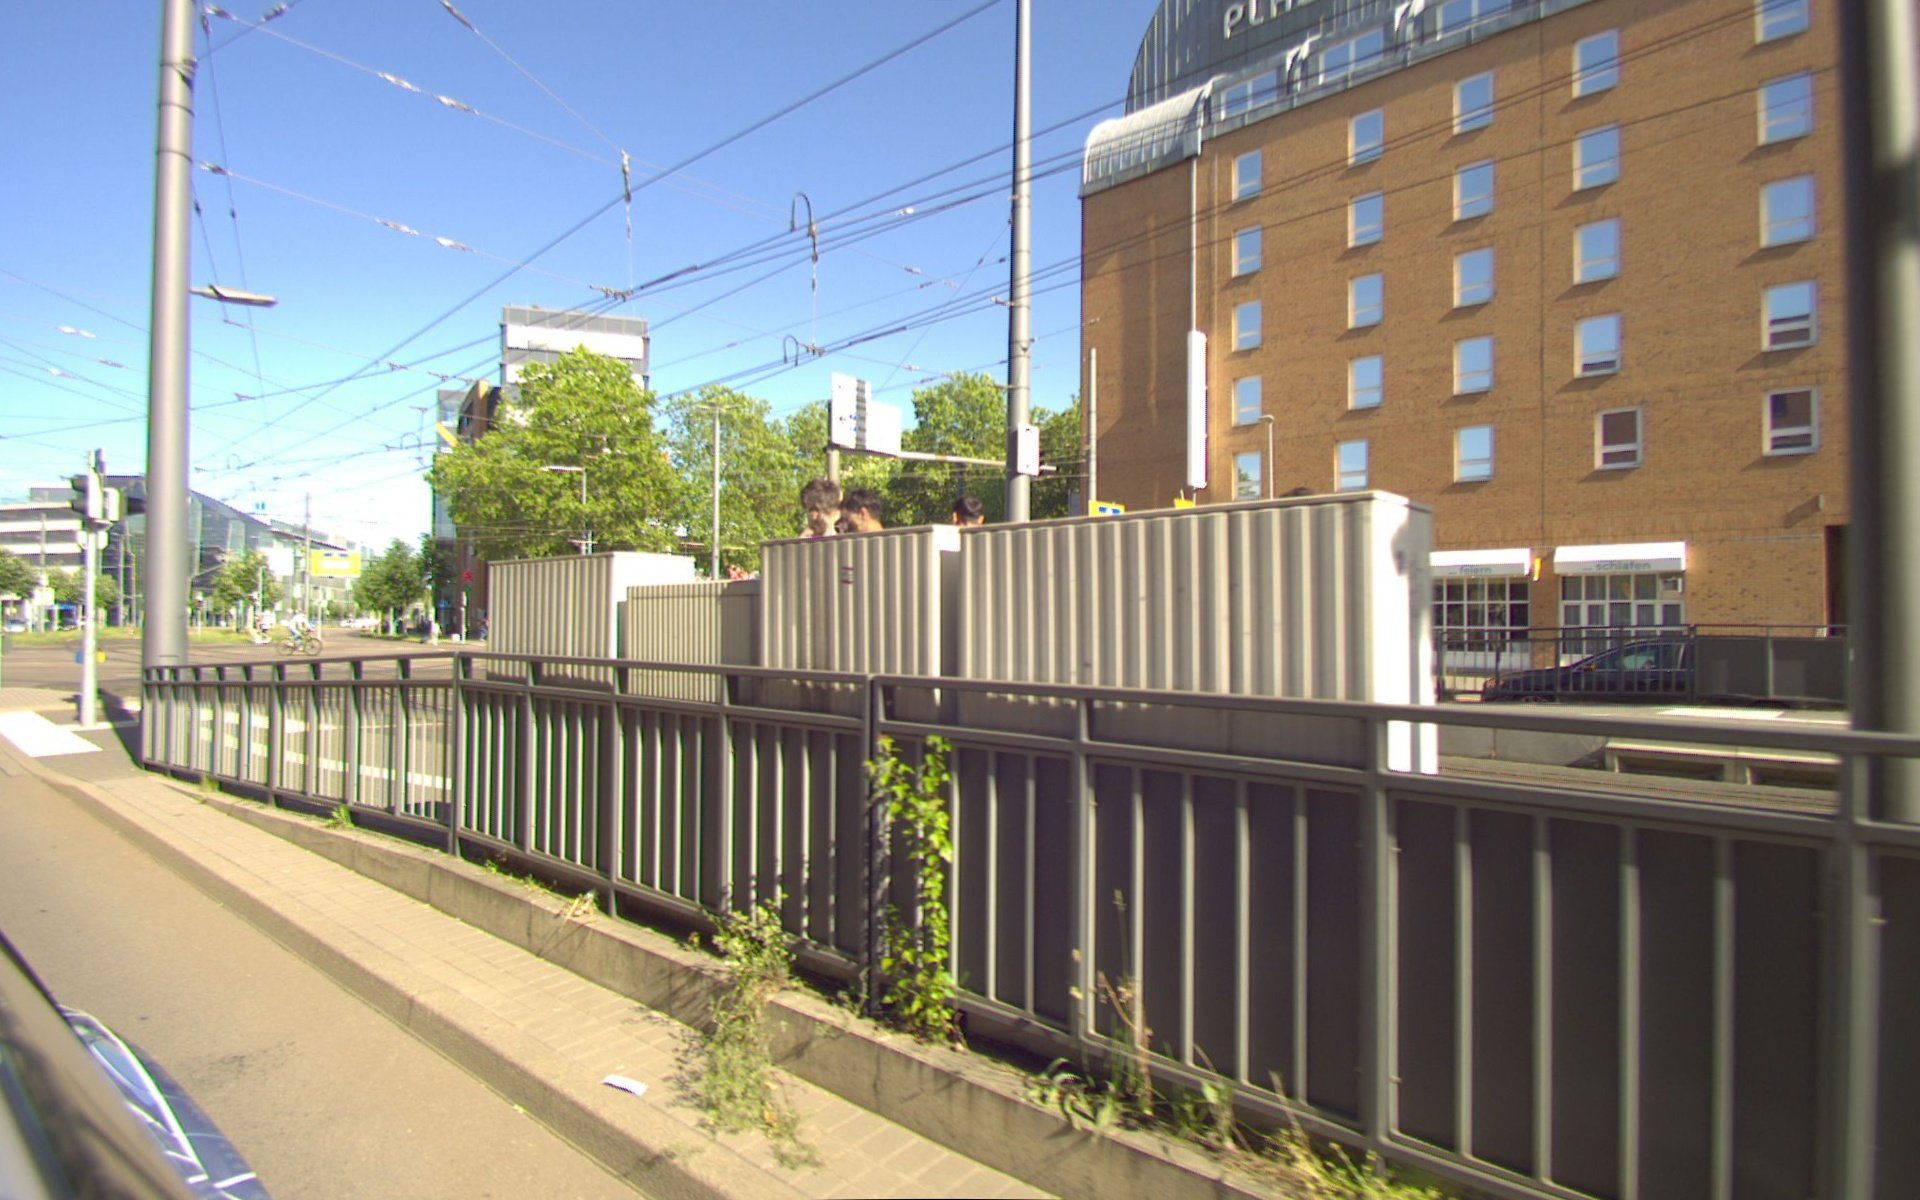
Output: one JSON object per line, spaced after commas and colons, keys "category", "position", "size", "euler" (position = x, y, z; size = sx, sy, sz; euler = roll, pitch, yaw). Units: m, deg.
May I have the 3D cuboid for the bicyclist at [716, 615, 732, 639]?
{"category": "bicyclist", "position": [-18.561, 2.133, 79.743], "size": [0.913, 1.822, 0.862], "euler": [2, -2, -42]}

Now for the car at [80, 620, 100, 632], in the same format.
{"category": "car", "position": [-111.371, 3.341, 129.561], "size": [1.925, 1.475, 4.007], "euler": [0, 0, -40]}

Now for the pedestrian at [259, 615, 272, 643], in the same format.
{"category": "pedestrian", "position": [-42.034, 1.775, 61.259], "size": [0.572, 1.692, 0.549], "euler": [2, -2, -36]}

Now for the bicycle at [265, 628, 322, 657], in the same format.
{"category": "bicycle", "position": [-26.687, 1.699, 40.541], "size": [1.811, 1.108, 0.639], "euler": [1, -2, -10]}

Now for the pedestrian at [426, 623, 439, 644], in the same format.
{"category": "pedestrian", "position": [-35.325, 2.258, 67.800], "size": [0.653, 1.408, 0.674], "euler": [2, -2, -36]}

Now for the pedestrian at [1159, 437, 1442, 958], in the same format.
{"category": "pedestrian", "position": [1.253, 0.313, 3.709], "size": [0.775, 1.631, 0.746], "euler": [-1, -2, 39]}

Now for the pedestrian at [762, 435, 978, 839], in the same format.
{"category": "pedestrian", "position": [-0.436, 0.167, 4.914], "size": [0.819, 1.757, 0.640], "euler": [-1, -2, 39]}

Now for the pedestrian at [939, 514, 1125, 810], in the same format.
{"category": "pedestrian", "position": [0.419, 0.341, 5.941], "size": [0.908, 1.581, 0.602], "euler": [-1, -2, 39]}

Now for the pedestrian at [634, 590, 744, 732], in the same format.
{"category": "pedestrian", "position": [-3.433, 0.744, 12.834], "size": [1.007, 1.702, 0.947], "euler": [-1, -2, 44]}

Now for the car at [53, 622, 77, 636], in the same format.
{"category": "car", "position": [-104.178, 3.332, 117.817], "size": [1.925, 1.475, 4.007], "euler": [0, 0, -40]}

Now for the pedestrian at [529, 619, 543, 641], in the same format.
{"category": "pedestrian", "position": [-31.734, 2.268, 75.732], "size": [0.768, 1.636, 0.674], "euler": [2, -2, -36]}

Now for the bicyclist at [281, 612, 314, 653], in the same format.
{"category": "bicyclist", "position": [-26.570, 1.306, 40.612], "size": [0.836, 1.652, 0.780], "euler": [1, -2, -9]}

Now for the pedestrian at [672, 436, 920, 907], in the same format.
{"category": "pedestrian", "position": [-0.693, 0.273, 4.292], "size": [0.819, 1.757, 0.640], "euler": [-1, -2, 39]}

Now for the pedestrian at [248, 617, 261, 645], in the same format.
{"category": "pedestrian", "position": [-41.527, 1.799, 59.553], "size": [0.572, 1.647, 0.549], "euler": [2, -2, -36]}

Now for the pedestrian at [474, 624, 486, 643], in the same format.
{"category": "pedestrian", "position": [-34.668, 2.424, 73.127], "size": [0.653, 1.408, 0.674], "euler": [2, -2, -36]}

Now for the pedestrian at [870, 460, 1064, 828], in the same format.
{"category": "pedestrian", "position": [0.040, 0.221, 5.438], "size": [0.819, 1.787, 0.640], "euler": [-1, -2, 39]}

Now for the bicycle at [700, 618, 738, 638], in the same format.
{"category": "bicycle", "position": [-18.876, 2.208, 79.413], "size": [2.804, 1.548, 0.905], "euler": [2, -2, -42]}

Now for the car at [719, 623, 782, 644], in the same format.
{"category": "car", "position": [-15.154, 2.415, 73.345], "size": [1.911, 1.519, 4.112], "euler": [-1, -2, 45]}

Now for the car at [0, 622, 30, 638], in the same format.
{"category": "car", "position": [-91.665, 2.882, 98.182], "size": [1.925, 1.475, 4.007], "euler": [0, 0, -40]}
